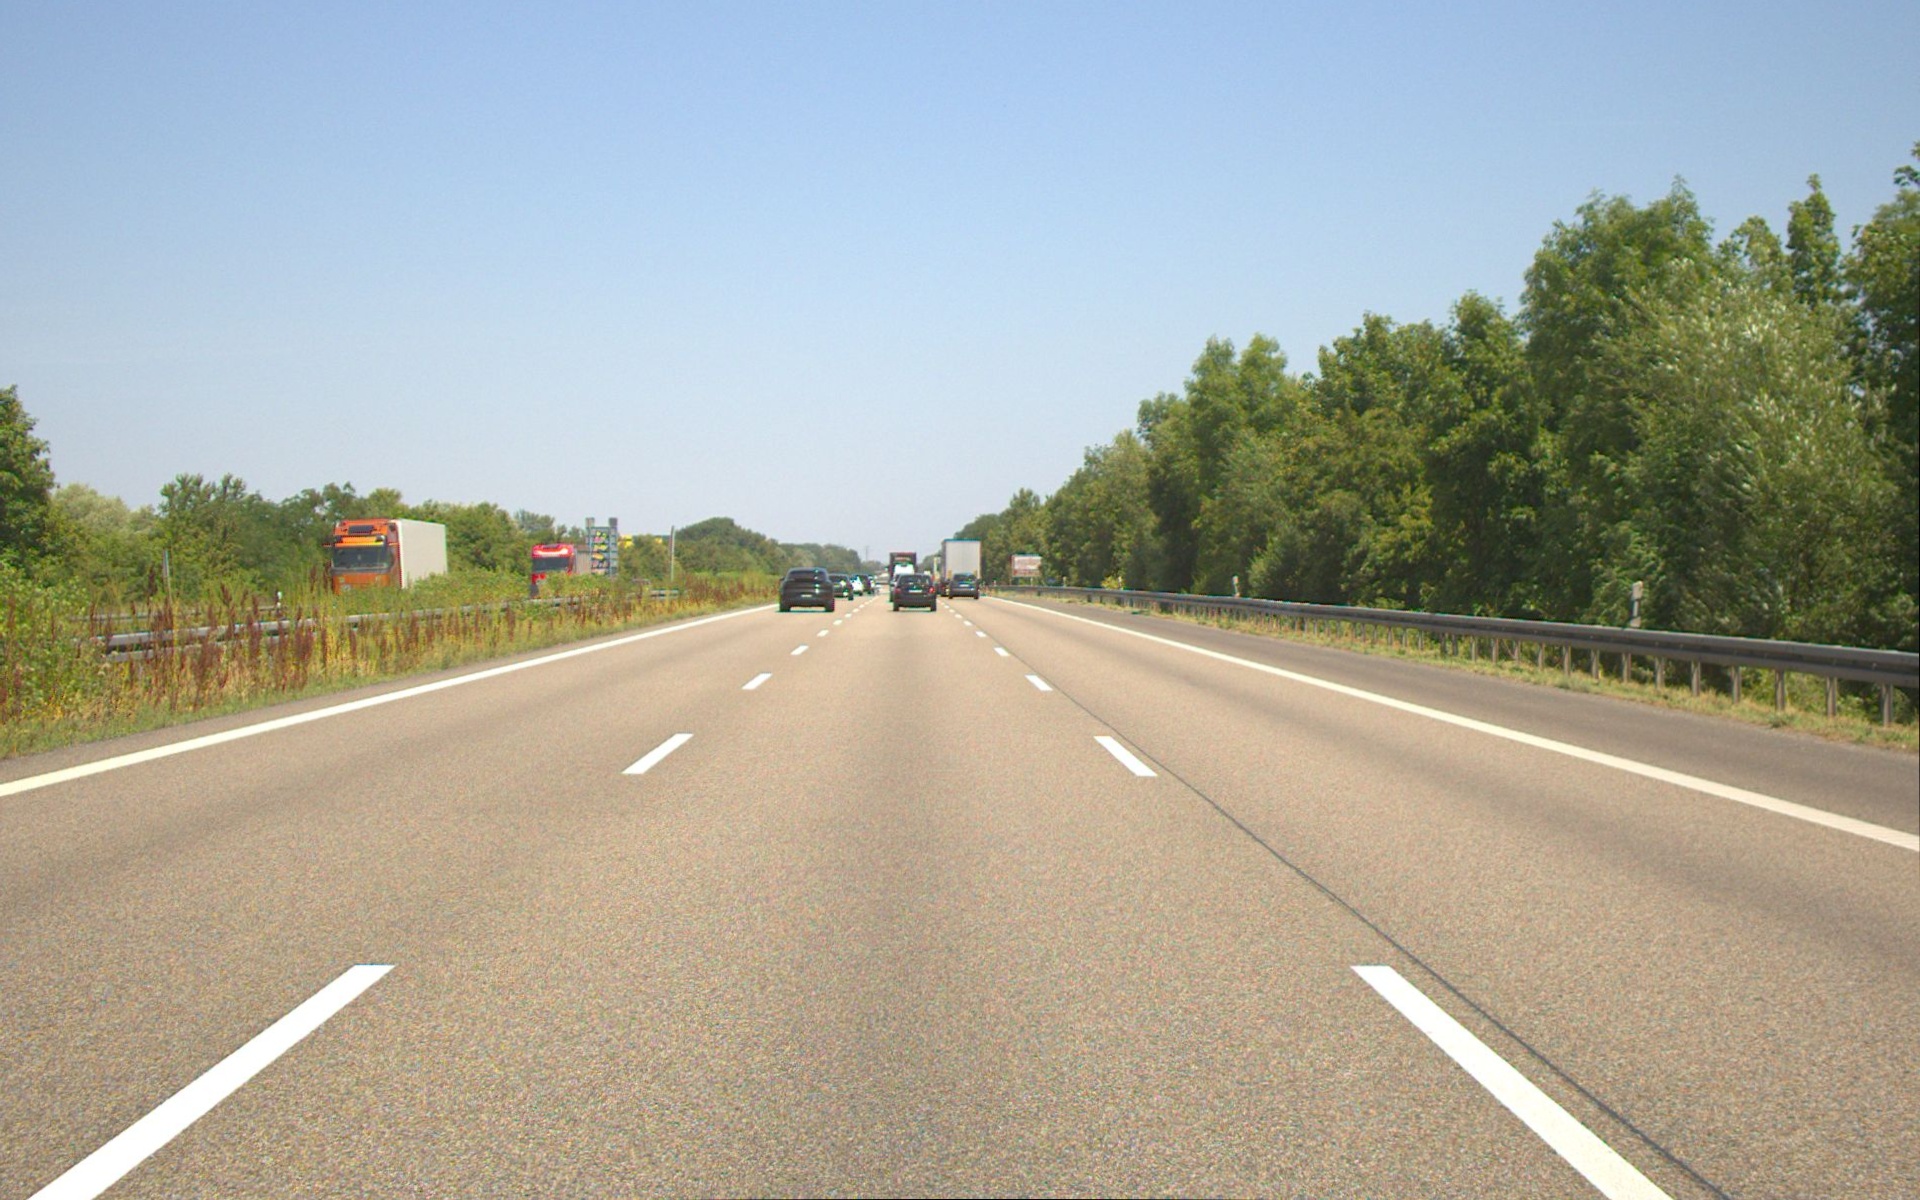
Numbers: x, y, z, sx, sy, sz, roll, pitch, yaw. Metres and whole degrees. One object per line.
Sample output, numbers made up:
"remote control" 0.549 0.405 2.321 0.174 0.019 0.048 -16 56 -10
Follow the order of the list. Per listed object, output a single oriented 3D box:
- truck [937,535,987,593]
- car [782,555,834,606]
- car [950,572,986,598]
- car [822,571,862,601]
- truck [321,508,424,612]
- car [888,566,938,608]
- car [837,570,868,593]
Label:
"truck" 0.119 -2.565 243.902 3.385 3.957 9.537 -1 0 0
"car" -5.669 -0.736 128.418 1.880 1.786 4.001 0 2 -2
"car" 0.478 -0.919 212.119 2.128 1.578 4.304 -1 0 0
"car" -6.689 -0.814 194.882 2.128 1.640 4.304 -1 0 0
"truck" -23.413 -1.586 137.352 2.732 3.922 7.416 -3 0 0
"car" -1.799 -0.501 133.070 1.903 1.578 4.304 -1 0 0
"car" -7.844 -1.347 251.585 2.128 1.640 4.304 -1 0 0
